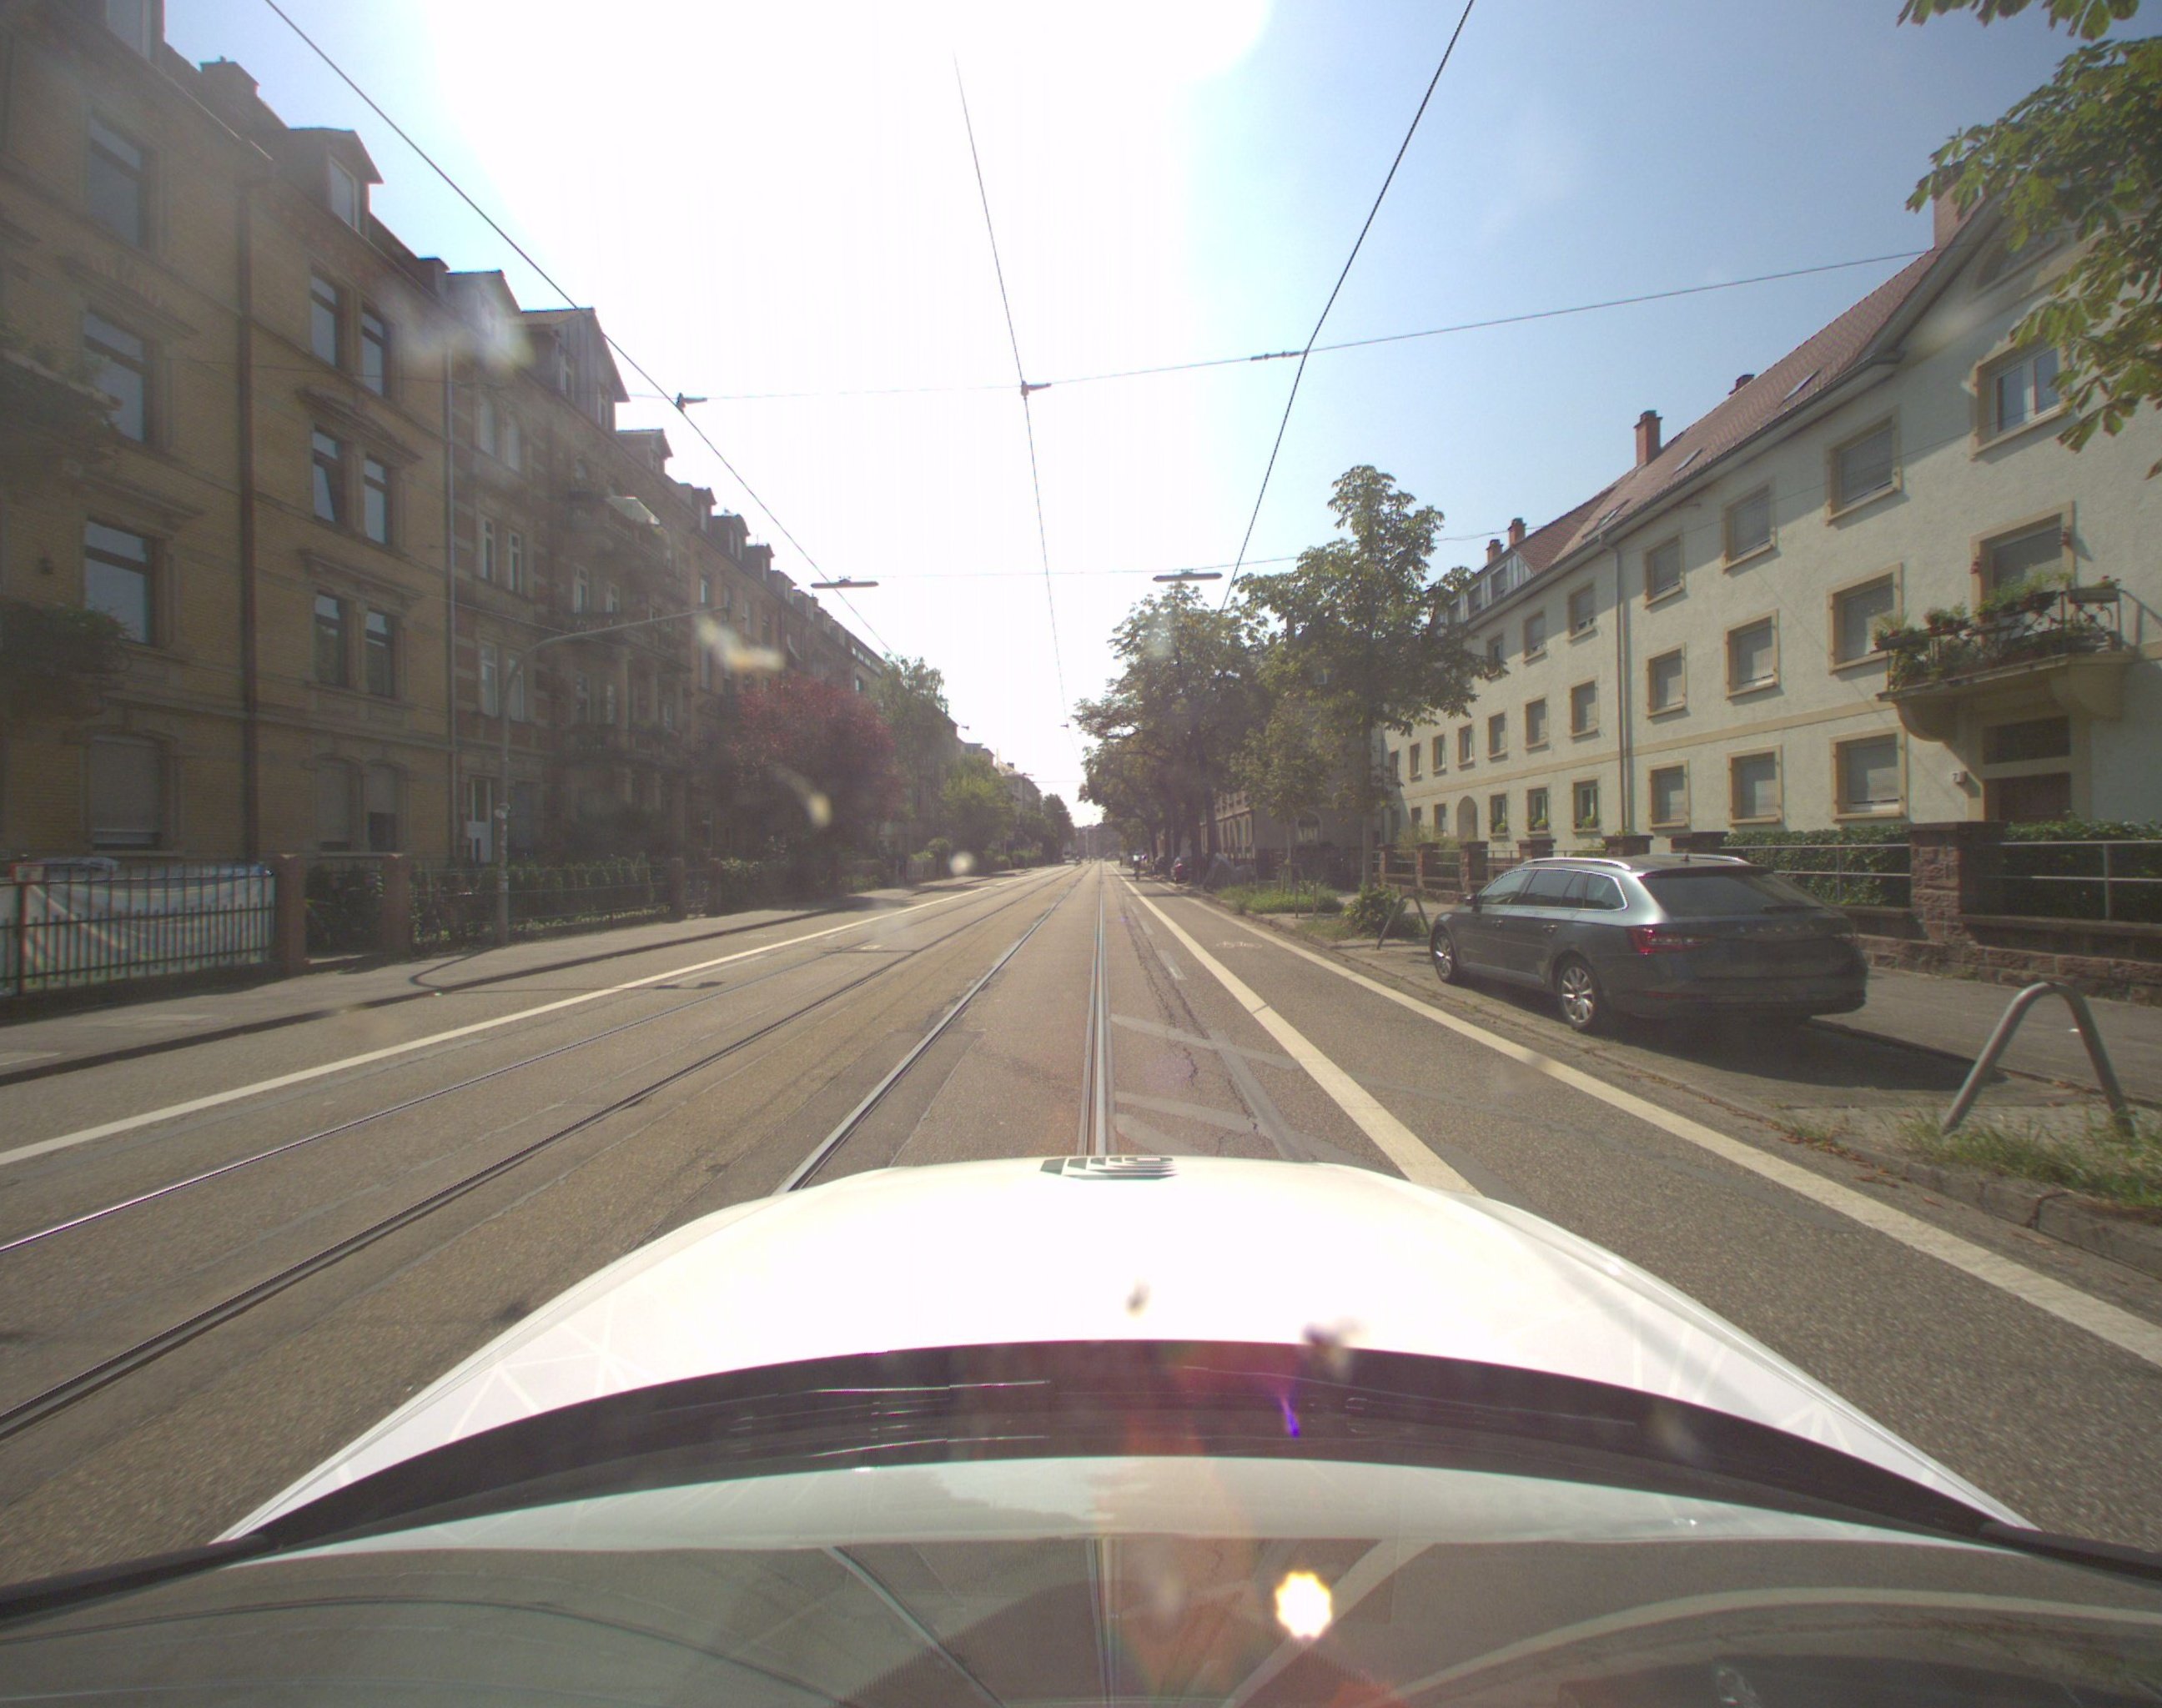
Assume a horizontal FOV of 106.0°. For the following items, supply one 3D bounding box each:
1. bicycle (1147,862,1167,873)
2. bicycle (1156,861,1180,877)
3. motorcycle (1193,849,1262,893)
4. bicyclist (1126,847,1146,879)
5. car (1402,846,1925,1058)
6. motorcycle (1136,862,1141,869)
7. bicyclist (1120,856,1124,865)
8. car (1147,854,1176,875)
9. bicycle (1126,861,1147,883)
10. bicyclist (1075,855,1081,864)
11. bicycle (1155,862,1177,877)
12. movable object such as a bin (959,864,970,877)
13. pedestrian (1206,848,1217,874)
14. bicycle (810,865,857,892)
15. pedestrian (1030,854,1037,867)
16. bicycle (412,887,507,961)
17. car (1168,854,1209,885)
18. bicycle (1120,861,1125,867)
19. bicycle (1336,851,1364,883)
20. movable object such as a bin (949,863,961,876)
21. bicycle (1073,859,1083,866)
[{"bbox_3d":[6.919,1.220,74.073,1.706,1.032,0.567,-1,-1,2],"label":"bicycle"},{"bbox_3d":[6.394,1.096,60.058,1.713,1.149,0.377,-1,-1,7],"label":"bicycle"},{"bbox_3d":[5.508,0.666,30.657,2.316,1.540,0.975,-4,-3,42],"label":"motorcycle"},{"bbox_3d":[3.288,0.546,48.589,1.121,1.837,0.956,-1,-1,2],"label":"bicyclist"},{"bbox_3d":[5.124,0.707,8.252,1.886,1.477,4.841,-1,0,1],"label":"car"},{"bbox_3d":[8.162,1.620,116.074,0.547,1.068,2.331,-1,-1,2],"label":"motorcycle"},{"bbox_3d":[5.832,0.979,115.305,0.576,1.279,0.472,-1,-1,3],"label":"bicyclist"},{"bbox_3d":[6.245,0.781,63.932,1.834,1.532,4.780,-2,0,1],"label":"car"},{"bbox_3d":[3.306,1.058,48.816,1.143,1.269,2.714,-1,0,3],"label":"bicycle"},{"bbox_3d":[-0.442,0.827,122.713,0.753,1.391,0.782,-1,-1,17],"label":"bicyclist"},{"bbox_3d":[6.248,1.111,59.677,1.597,1.104,0.399,-1,-1,7],"label":"bicycle"},{"bbox_3d":[-9.756,1.365,68.280,0.783,1.076,0.804,0,-1,4],"label":"movable object such as a bin"},{"bbox_3d":[9.764,0.530,60.958,0.703,1.892,0.714,-1,-1,3],"label":"pedestrian"},{"bbox_3d":[-10.925,1.070,35.949,1.805,1.182,0.717,0,-1,3],"label":"bicycle"},{"bbox_3d":[-6.957,0.949,118.967,0.777,1.756,1.041,-2,-1,2],"label":"pedestrian"},{"bbox_3d":[-10.359,1.132,13.636,0.389,1.099,1.568,-1,0,-1],"label":"bicycle"},{"bbox_3d":[6.076,0.866,46.396,1.834,1.532,4.116,-1,1,1],"label":"car"},{"bbox_3d":[5.845,1.403,115.337,0.585,0.939,2.174,-1,-1,4],"label":"bicycle"},{"bbox_3d":[11.791,0.571,35.773,0.591,1.358,2.371,-1,-1,4],"label":"bicycle"},{"bbox_3d":[-10.574,1.336,68.226,0.783,1.076,0.804,0,-1,4],"label":"movable object such as a bin"},{"bbox_3d":[-0.420,1.267,122.771,0.752,0.991,2.309,-1,-1,19],"label":"bicycle"}]
